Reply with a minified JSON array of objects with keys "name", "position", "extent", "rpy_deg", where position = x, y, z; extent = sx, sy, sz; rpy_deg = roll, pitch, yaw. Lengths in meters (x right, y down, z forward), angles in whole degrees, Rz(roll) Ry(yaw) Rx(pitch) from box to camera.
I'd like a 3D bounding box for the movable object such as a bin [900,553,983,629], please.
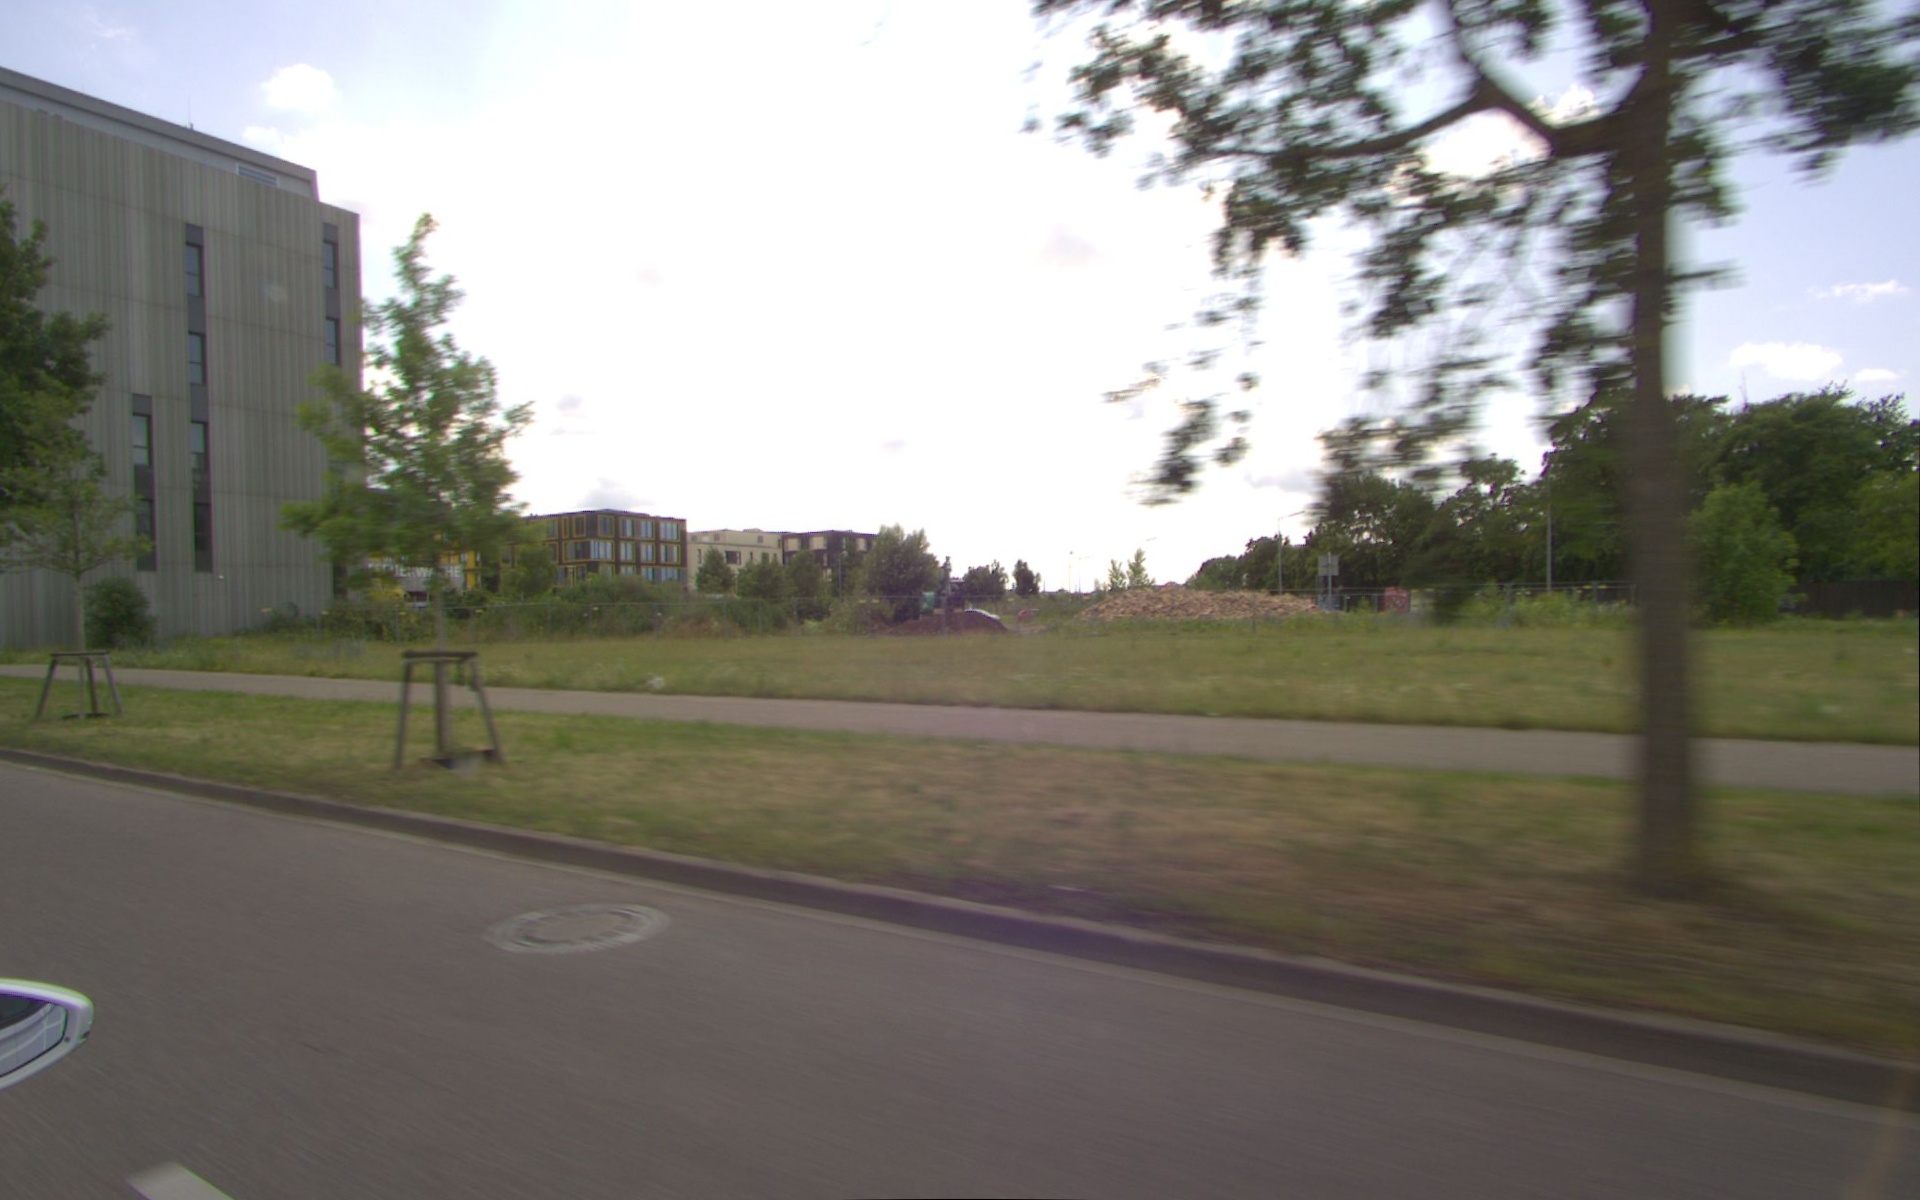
[{"name":"movable object such as a bin","position":[-1.216,-0.389,57.520],"extent":[2.994,3.900,7.611],"rpy_deg":[-1,-2,-15]}]
